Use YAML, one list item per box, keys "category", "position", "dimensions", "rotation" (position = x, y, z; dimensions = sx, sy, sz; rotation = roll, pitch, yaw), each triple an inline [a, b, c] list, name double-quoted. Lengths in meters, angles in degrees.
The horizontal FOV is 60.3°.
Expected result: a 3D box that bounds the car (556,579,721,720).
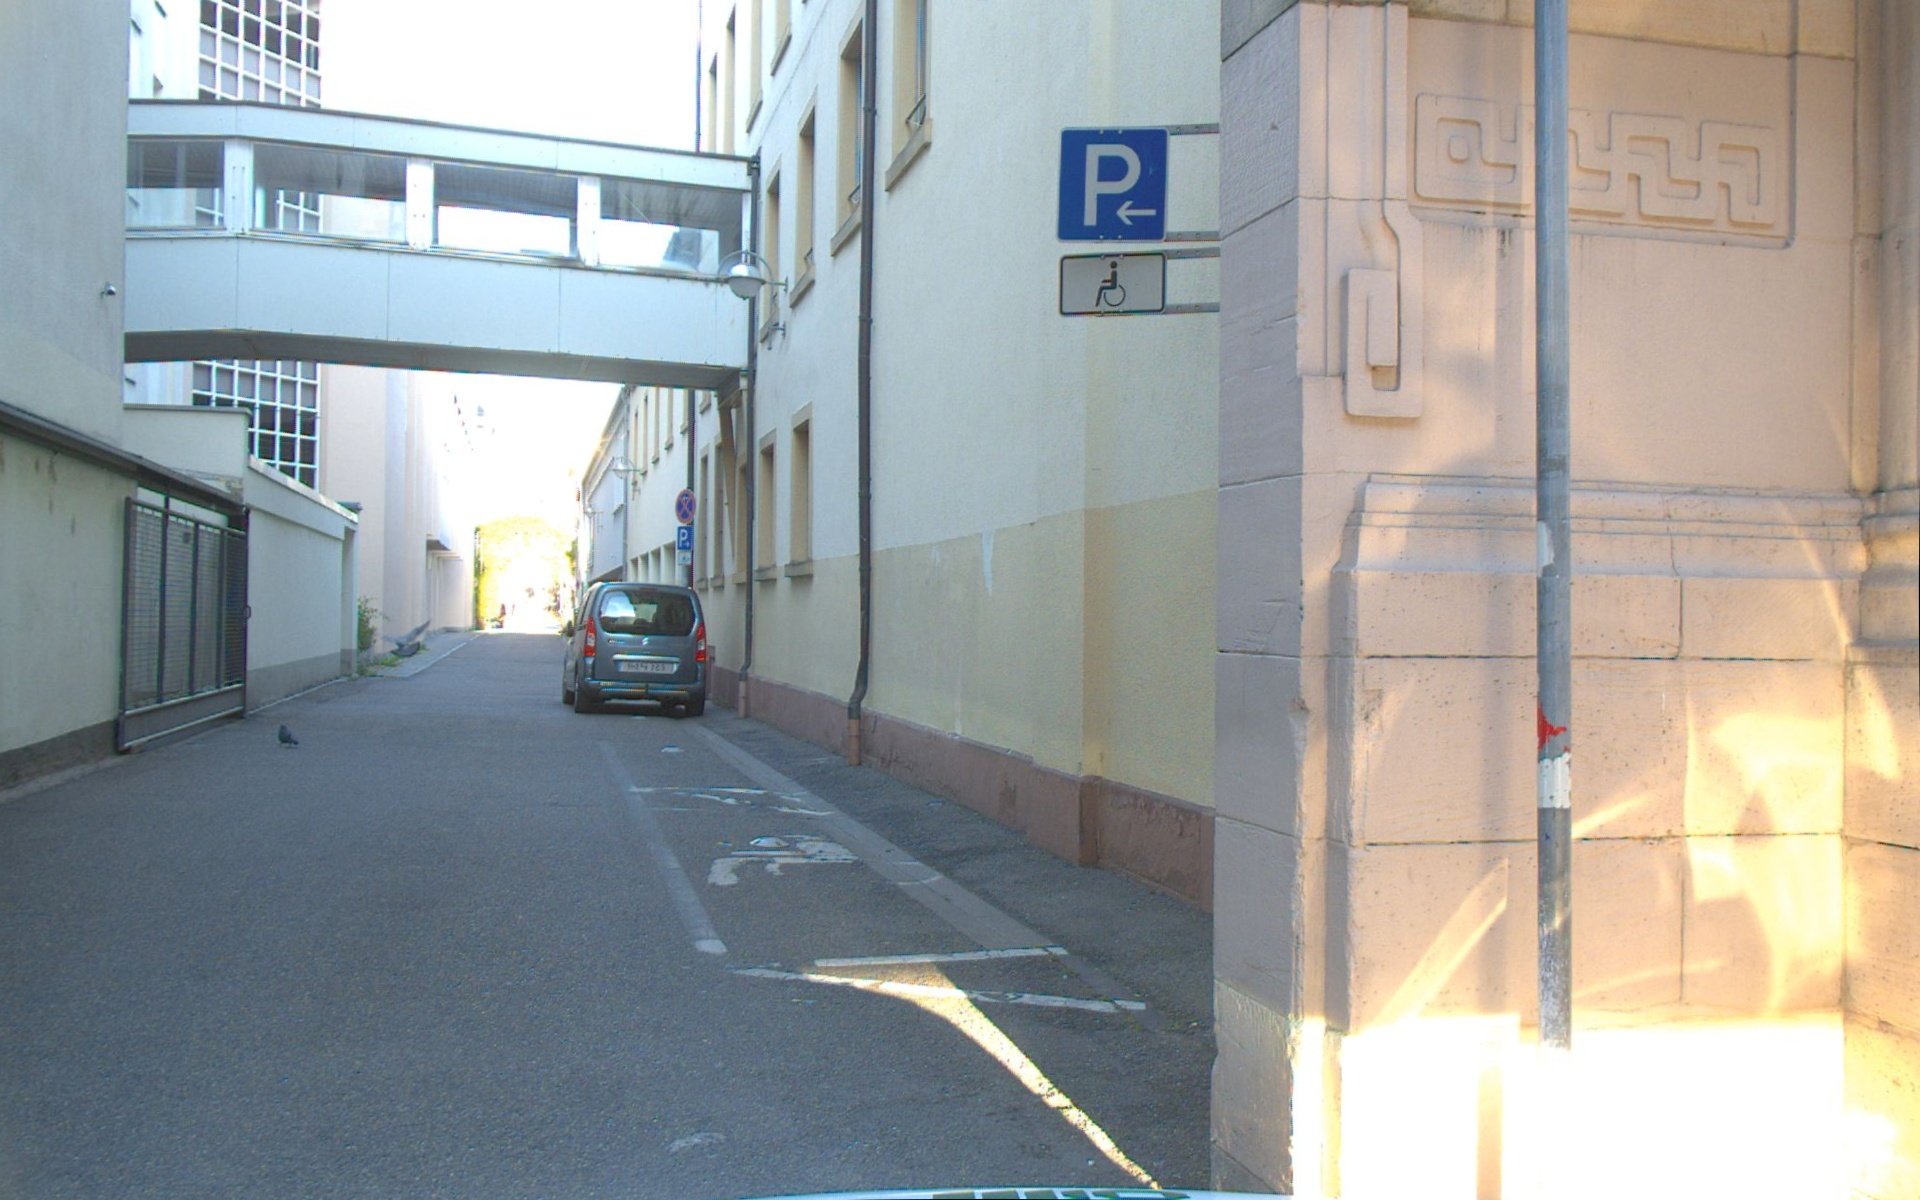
- category: "car"
  position: [-4.767, 0.666, 24.113]
  dimensions: [1.826, 1.786, 4.142]
  rotation: [4, -1, -17]
